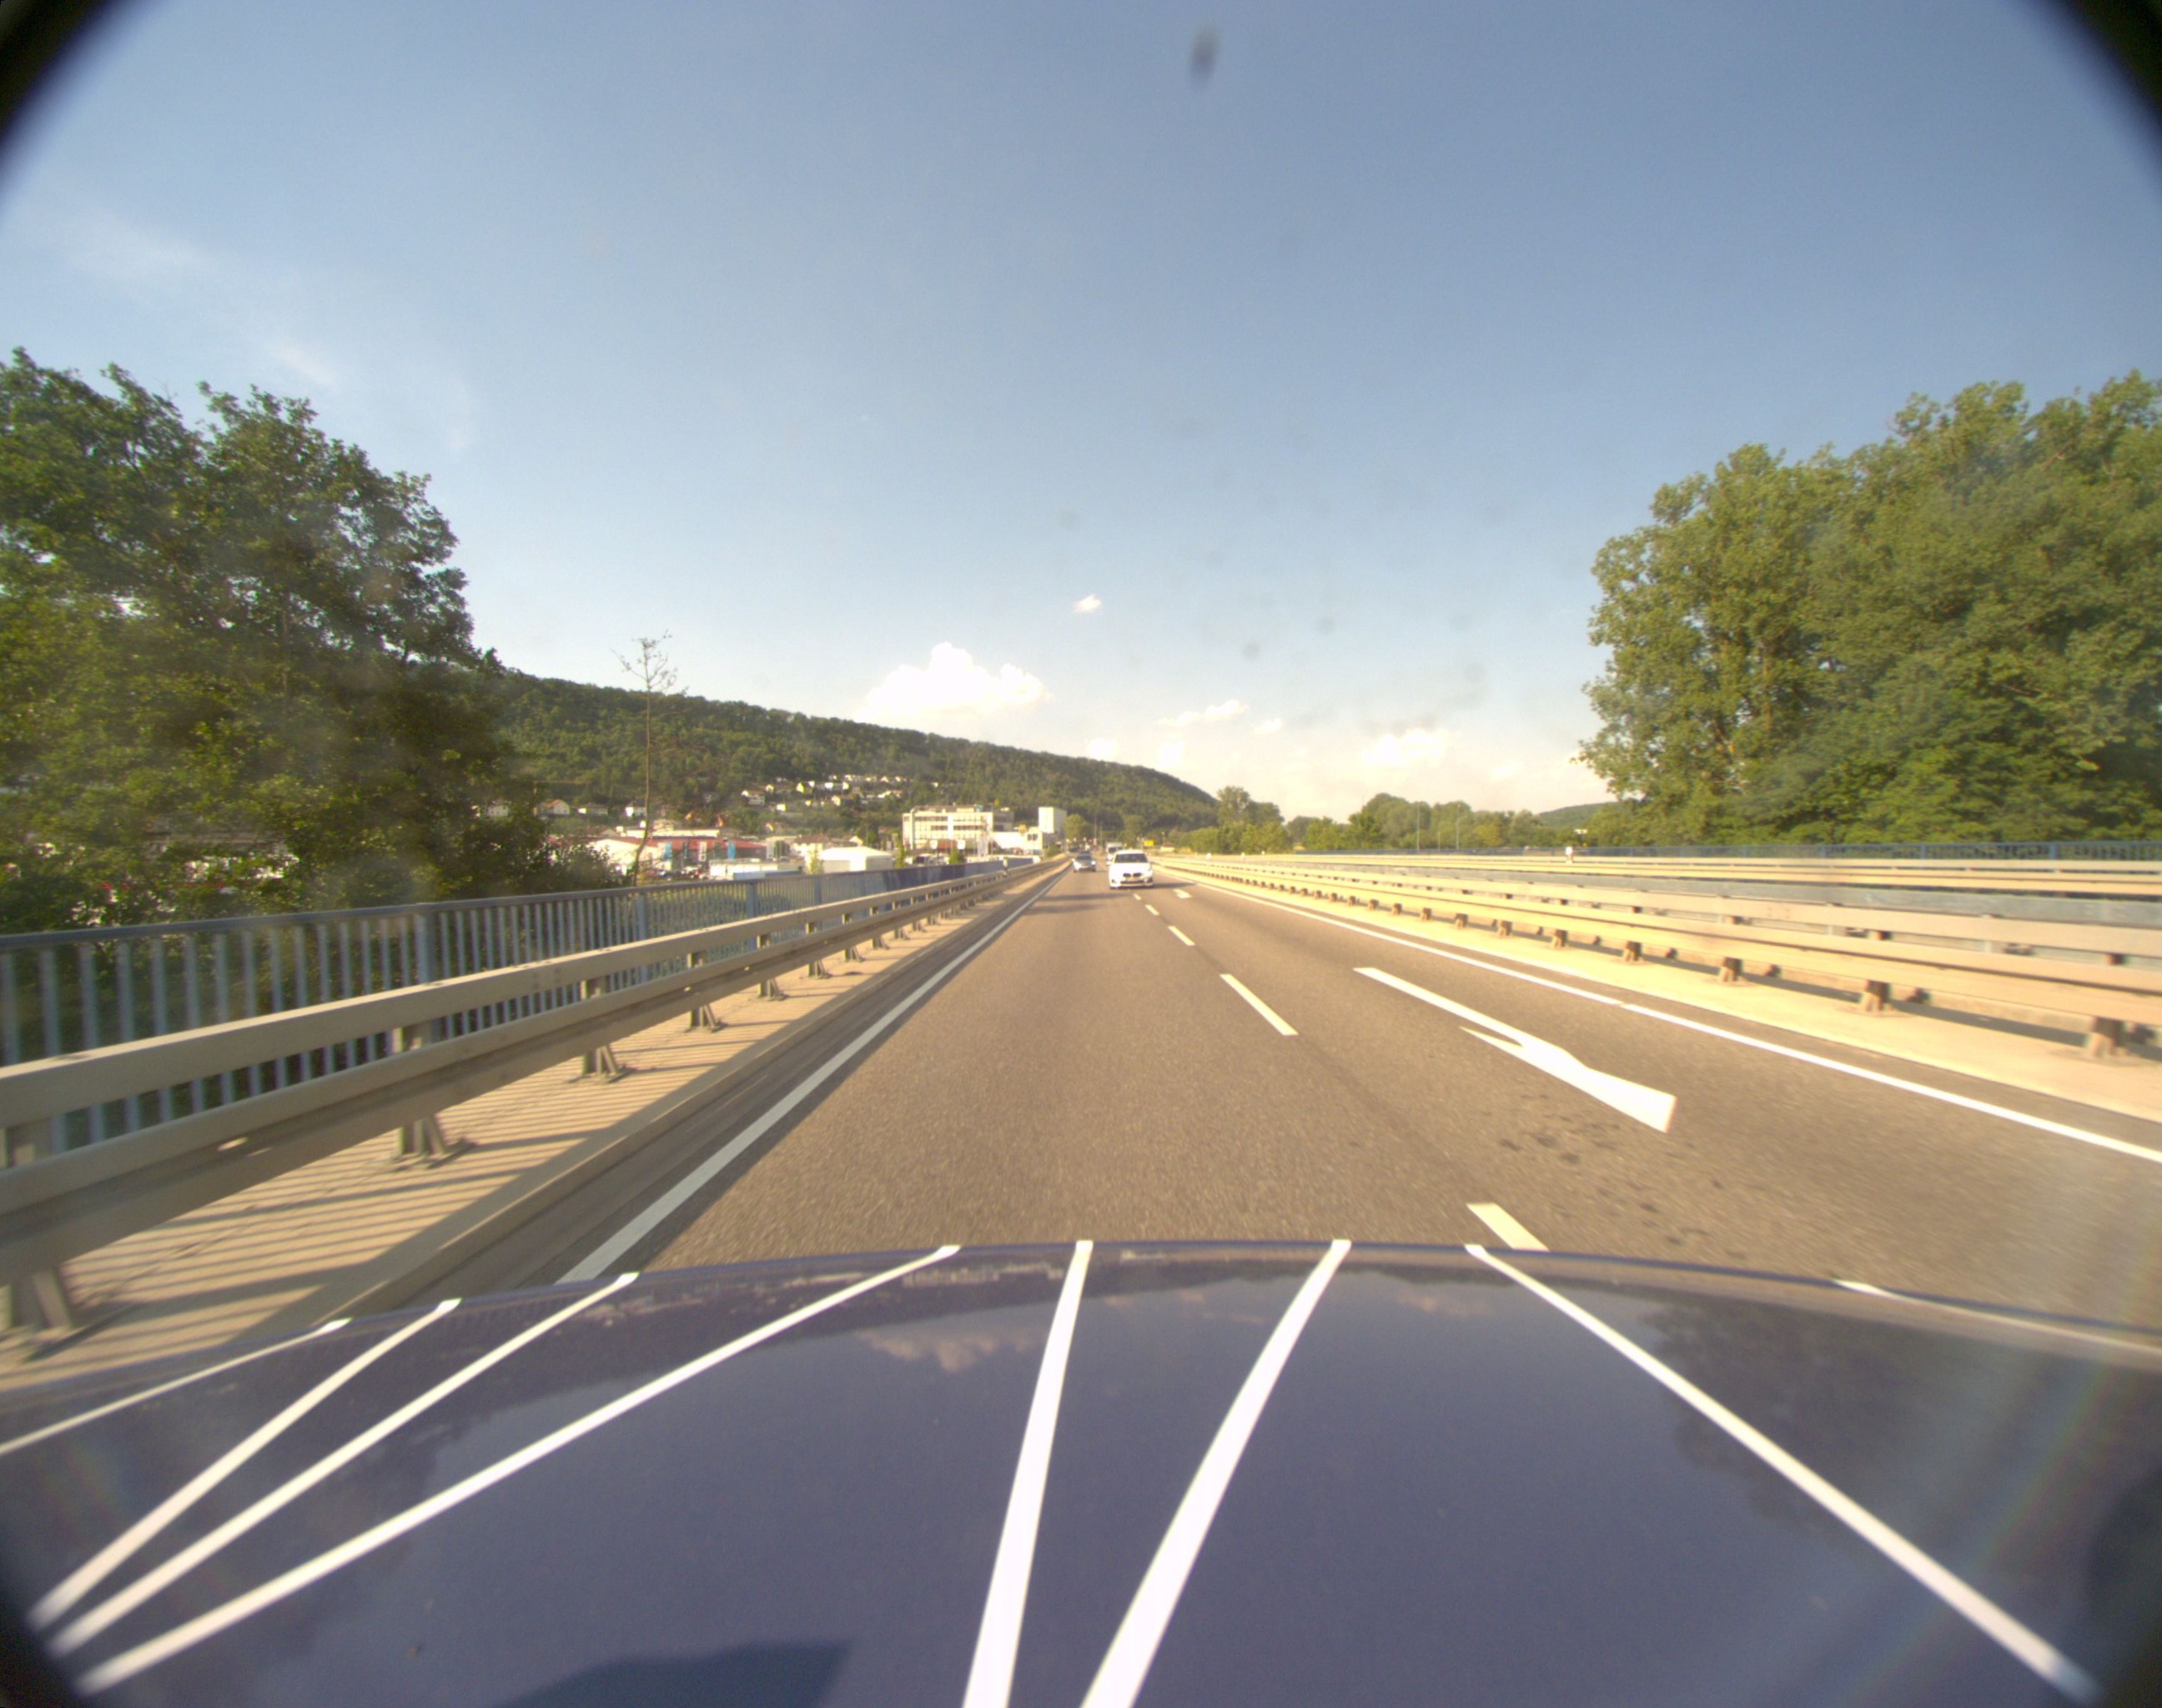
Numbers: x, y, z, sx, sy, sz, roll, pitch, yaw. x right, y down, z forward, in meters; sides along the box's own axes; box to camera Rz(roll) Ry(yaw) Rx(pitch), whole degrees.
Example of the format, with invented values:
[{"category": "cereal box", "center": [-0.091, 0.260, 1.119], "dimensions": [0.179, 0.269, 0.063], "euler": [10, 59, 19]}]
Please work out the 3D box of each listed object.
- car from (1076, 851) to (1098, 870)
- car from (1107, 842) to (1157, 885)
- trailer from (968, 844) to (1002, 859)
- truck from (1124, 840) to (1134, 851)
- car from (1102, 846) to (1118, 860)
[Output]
[{"category": "car", "center": [0.526, 0.479, 60.885], "dimensions": [1.690, 1.383, 3.882], "euler": [-1, 2, 1]}, {"category": "car", "center": [2.082, 0.354, 31.901], "dimensions": [1.825, 1.552, 3.999], "euler": [-2, 2, 1]}, {"category": "trailer", "center": [-23.640, -0.540, 187.345], "dimensions": [7.897, 3.304, 3.358], "euler": [-2, 2, 5]}, {"category": "truck", "center": [16.768, -3.011, 266.109], "dimensions": [2.940, 3.477, 10.494], "euler": [-2, 2, 0]}, {"category": "car", "center": [3.268, -0.114, 84.983], "dimensions": [1.690, 1.383, 3.882], "euler": [-1, 2, 1]}]
